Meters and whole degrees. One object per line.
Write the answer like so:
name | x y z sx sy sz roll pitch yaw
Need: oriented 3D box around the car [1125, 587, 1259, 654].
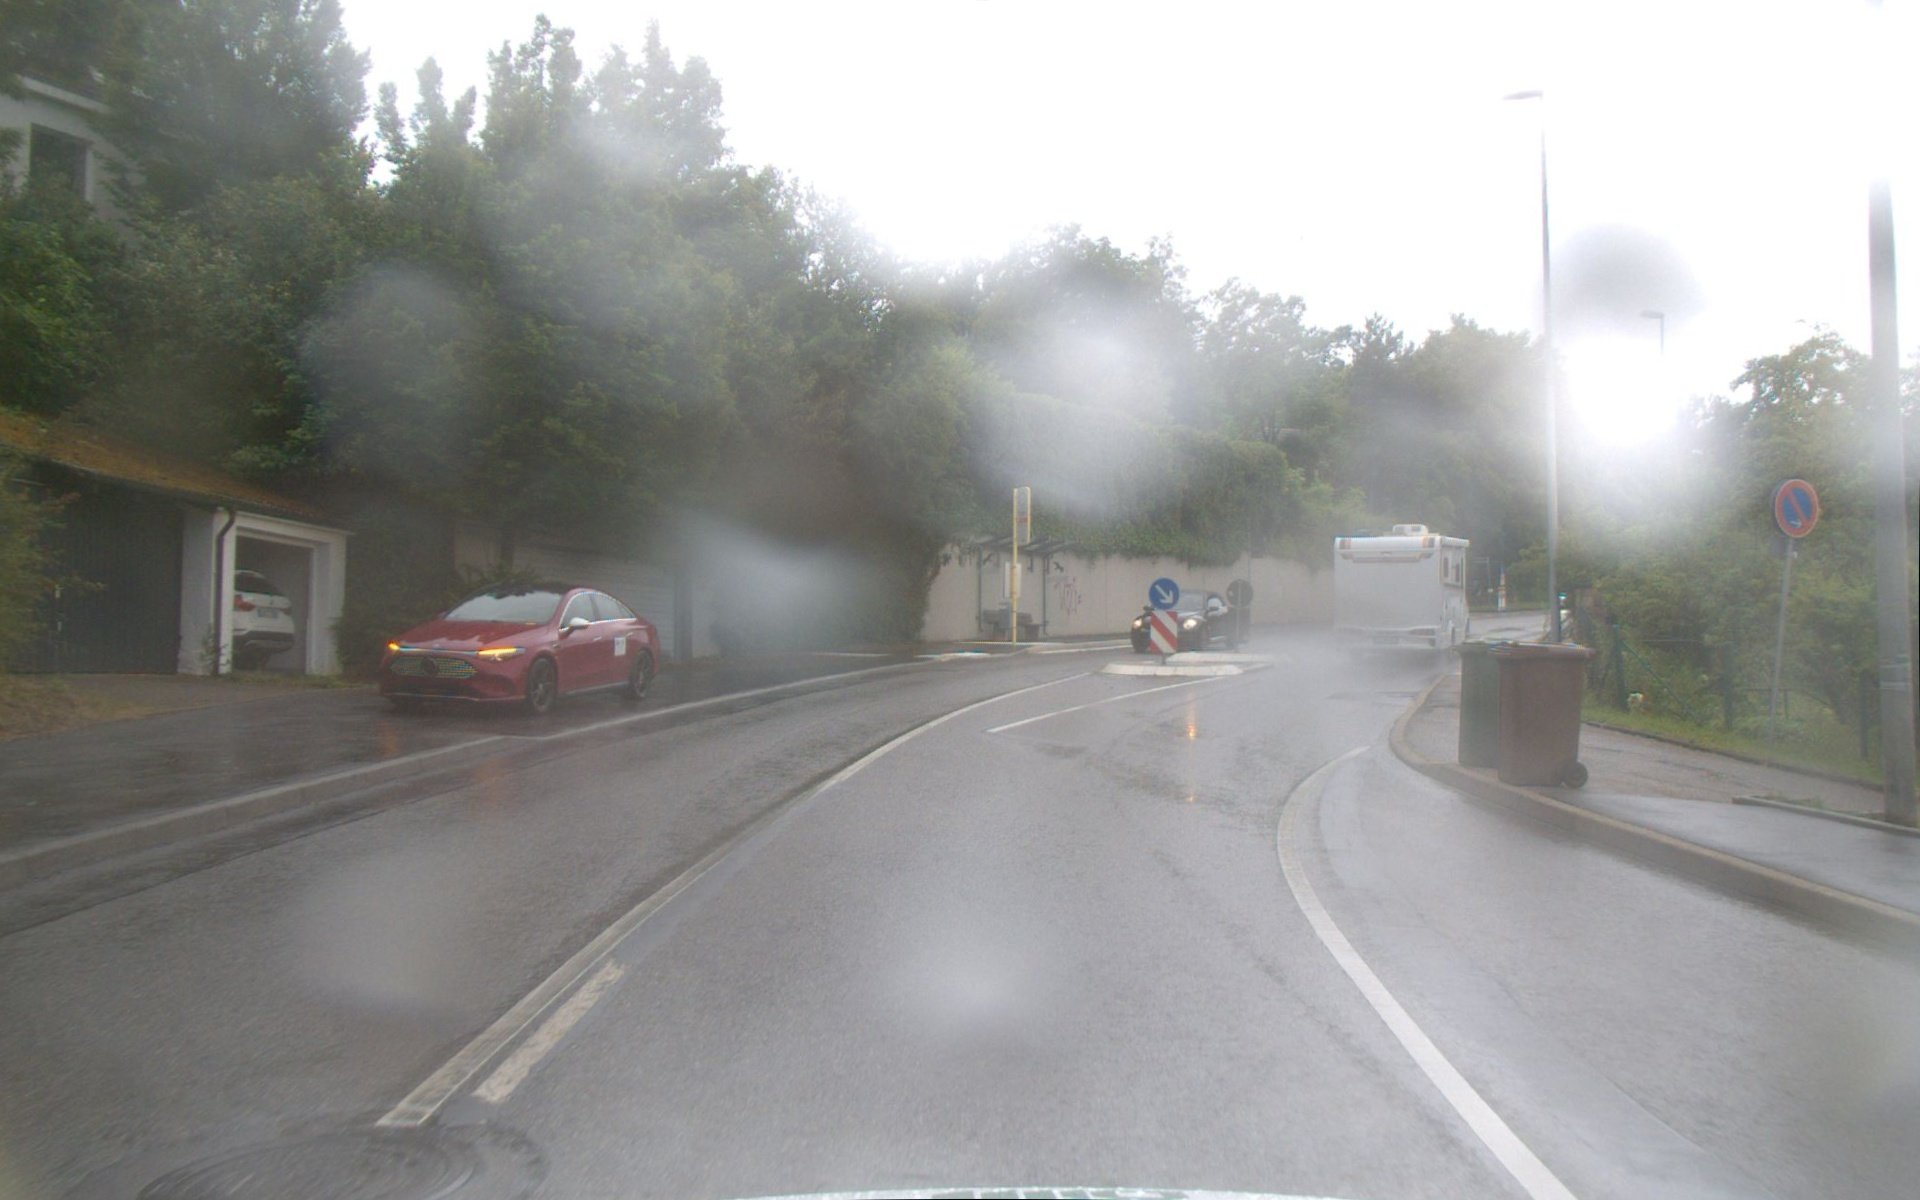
car | 5.802 0.482 40.999 1.696 1.440 3.989 -4 0 33

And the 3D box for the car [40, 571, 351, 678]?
car | -11.508 0.343 25.012 3.902 1.530 1.880 0 0 11

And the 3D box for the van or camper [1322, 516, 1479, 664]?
van or camper | 9.912 -0.292 36.852 2.489 2.975 5.946 2 2 23

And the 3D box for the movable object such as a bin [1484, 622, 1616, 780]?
movable object such as a bin | 4.518 0.759 12.717 0.761 1.153 0.738 1 0 2

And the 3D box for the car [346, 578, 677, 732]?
car | -5.211 0.558 20.000 1.951 1.589 4.657 1 1 12

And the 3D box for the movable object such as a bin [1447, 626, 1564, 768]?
movable object such as a bin | 4.612 0.806 14.023 0.761 1.153 0.738 1 0 2
